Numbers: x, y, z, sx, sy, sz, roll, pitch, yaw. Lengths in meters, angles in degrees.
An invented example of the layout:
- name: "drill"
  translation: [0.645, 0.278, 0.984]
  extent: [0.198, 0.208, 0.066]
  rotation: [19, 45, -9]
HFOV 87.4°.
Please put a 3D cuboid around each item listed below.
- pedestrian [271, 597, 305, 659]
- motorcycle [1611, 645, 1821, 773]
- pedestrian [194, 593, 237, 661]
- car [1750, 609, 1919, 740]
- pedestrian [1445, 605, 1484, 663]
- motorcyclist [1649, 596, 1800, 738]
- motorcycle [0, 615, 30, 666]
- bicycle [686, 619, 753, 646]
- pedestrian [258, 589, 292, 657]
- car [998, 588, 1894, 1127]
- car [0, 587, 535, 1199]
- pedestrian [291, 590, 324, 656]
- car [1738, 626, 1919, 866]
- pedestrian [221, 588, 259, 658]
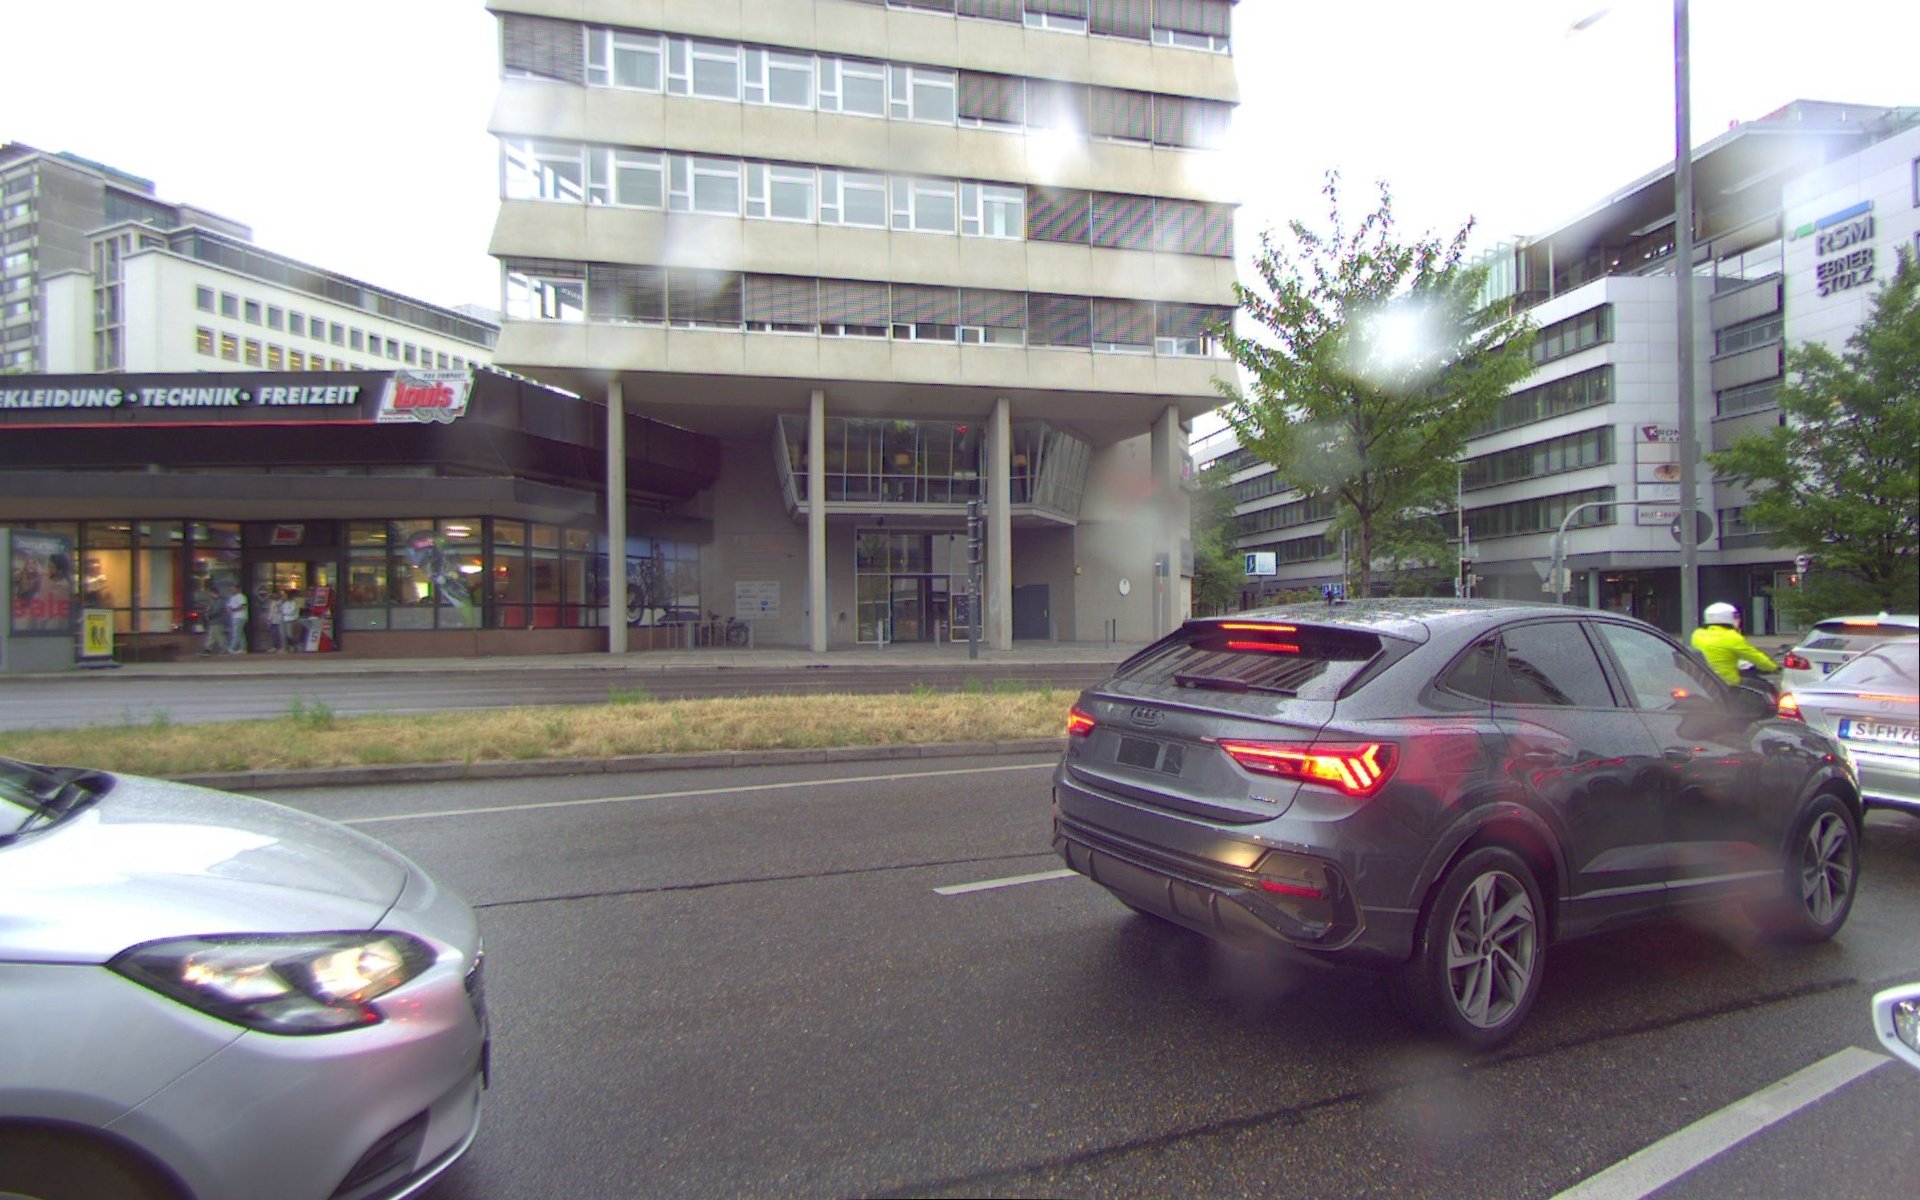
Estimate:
- name: "pedestrian"
  translation: [-17.412, 0.714, 26.033]
  extent: [0.548, 1.591, 0.541]
  rotation: [1, 0, -9]
- name: "motorcycle"
  translation: [7.870, 1.101, 10.460]
  extent: [1.998, 1.200, 0.799]
  rotation: [2, 0, -21]
- name: "pedestrian"
  translation: [-18.315, 0.658, 24.716]
  extent: [0.601, 1.633, 0.614]
  rotation: [1, 0, -9]
- name: "car"
  translation: [12.623, 0.930, 13.210]
  extent: [3.940, 1.506, 1.704]
  rotation: [2, 0, -20]
- name: "pedestrian"
  translation: [14.976, 1.012, 29.829]
  extent: [0.751, 1.706, 0.677]
  rotation: [1, 0, -16]
- name: "motorcyclist"
  translation: [7.959, 0.677, 10.473]
  extent: [1.102, 1.398, 0.768]
  rotation: [2, 0, -22]
- name: "motorcycle"
  translation: [-23.539, 0.981, 24.195]
  extent: [0.353, 1.249, 1.669]
  rotation: [1, 0, 20]
- name: "bicycle"
  translation: [-8.159, 1.108, 34.167]
  extent: [2.165, 0.871, 0.456]
  rotation: [2, 0, -31]
- name: "pedestrian"
  translation: [-18.044, 0.609, 26.479]
  extent: [0.548, 1.767, 0.541]
  rotation: [1, 0, -9]
- name: "car"
  translation: [2.396, 0.760, 4.645]
  extent: [4.220, 1.542, 1.640]
  rotation: [1, 0, -30]
- name: "car"
  translation: [-2.900, 0.689, 1.693]
  extent: [3.831, 1.455, 1.639]
  rotation: [1, 0, -32]
- name: "pedestrian"
  translation: [-17.667, 0.624, 27.210]
  extent: [0.548, 1.767, 0.541]
  rotation: [1, 0, -9]
- name: "car"
  translation: [7.625, 0.957, 7.079]
  extent: [4.050, 1.426, 1.567]
  rotation: [2, 0, -22]
- name: "pedestrian"
  translation: [-18.538, 0.591, 25.861]
  extent: [0.548, 1.767, 0.614]
  rotation: [1, 0, -9]
